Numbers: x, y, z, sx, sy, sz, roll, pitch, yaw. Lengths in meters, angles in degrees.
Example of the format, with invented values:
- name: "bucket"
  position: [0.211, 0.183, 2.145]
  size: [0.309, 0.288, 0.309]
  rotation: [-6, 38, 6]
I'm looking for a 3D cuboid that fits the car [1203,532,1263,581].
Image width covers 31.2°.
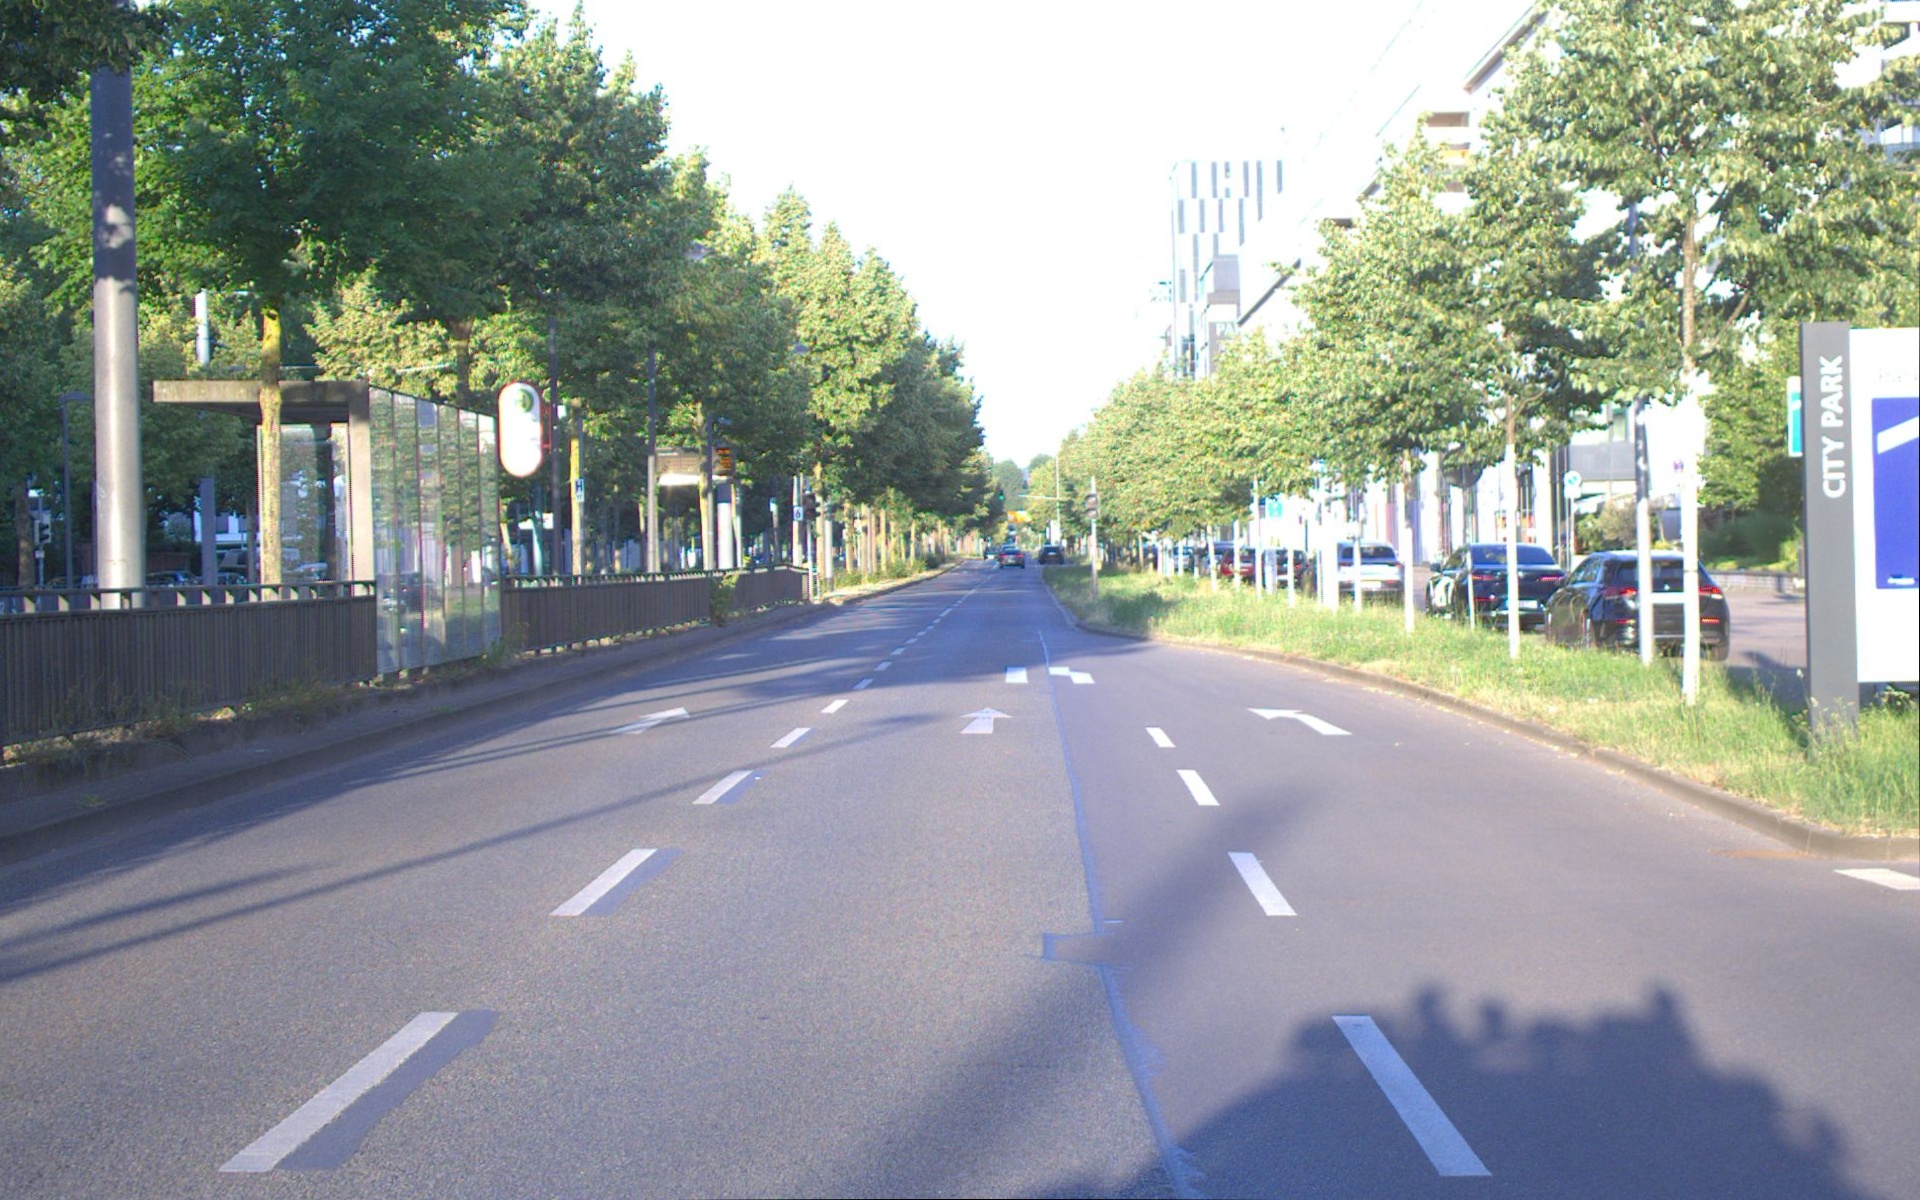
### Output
- name: "car"
  position: [10.237, -1.634, 129.144]
  size: [1.894, 1.765, 3.947]
  rotation: [-1, 1, 0]

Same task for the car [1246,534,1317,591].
- name: "car"
  position: [9.845, -1.165, 105.427]
  size: [2.029, 1.691, 4.397]
  rotation: [1, 1, 4]

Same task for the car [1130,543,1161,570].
- name: "car"
  position: [11.753, -2.749, 218.190]
  size: [1.695, 1.590, 4.000]
  rotation: [-2, 1, 0]

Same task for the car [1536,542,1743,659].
- name: "car"
  position: [8.870, -0.029, 45.233]
  size: [1.825, 1.430, 4.460]
  rotation: [1, 1, 0]

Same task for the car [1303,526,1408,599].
- name: "car"
  position: [9.449, -0.915, 82.471]
  size: [1.993, 1.691, 4.415]
  rotation: [1, 1, 0]

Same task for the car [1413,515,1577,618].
- name: "car"
  position: [9.220, -0.598, 59.595]
  size: [1.993, 1.691, 4.594]
  rotation: [1, 1, -1]

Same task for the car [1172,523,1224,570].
- name: "car"
  position: [10.454, -2.370, 151.170]
  size: [1.993, 2.007, 4.000]
  rotation: [-1, 1, 0]

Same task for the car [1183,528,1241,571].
- name: "car"
  position: [9.966, -1.992, 135.948]
  size: [1.771, 1.630, 3.562]
  rotation: [-1, 1, -4]

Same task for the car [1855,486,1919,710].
- name: "car"
  position: [8.741, -0.005, 27.993]
  size: [1.851, 1.821, 4.395]
  rotation: [1, 1, 2]

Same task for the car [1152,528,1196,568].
- name: "car"
  position: [10.961, -2.664, 176.464]
  size: [1.993, 2.007, 4.000]
  rotation: [-1, 1, 0]

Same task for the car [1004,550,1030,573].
- name: "car"
  position: [4.019, -2.727, 244.091]
  size: [1.695, 1.590, 4.000]
  rotation: [-2, 1, 0]
